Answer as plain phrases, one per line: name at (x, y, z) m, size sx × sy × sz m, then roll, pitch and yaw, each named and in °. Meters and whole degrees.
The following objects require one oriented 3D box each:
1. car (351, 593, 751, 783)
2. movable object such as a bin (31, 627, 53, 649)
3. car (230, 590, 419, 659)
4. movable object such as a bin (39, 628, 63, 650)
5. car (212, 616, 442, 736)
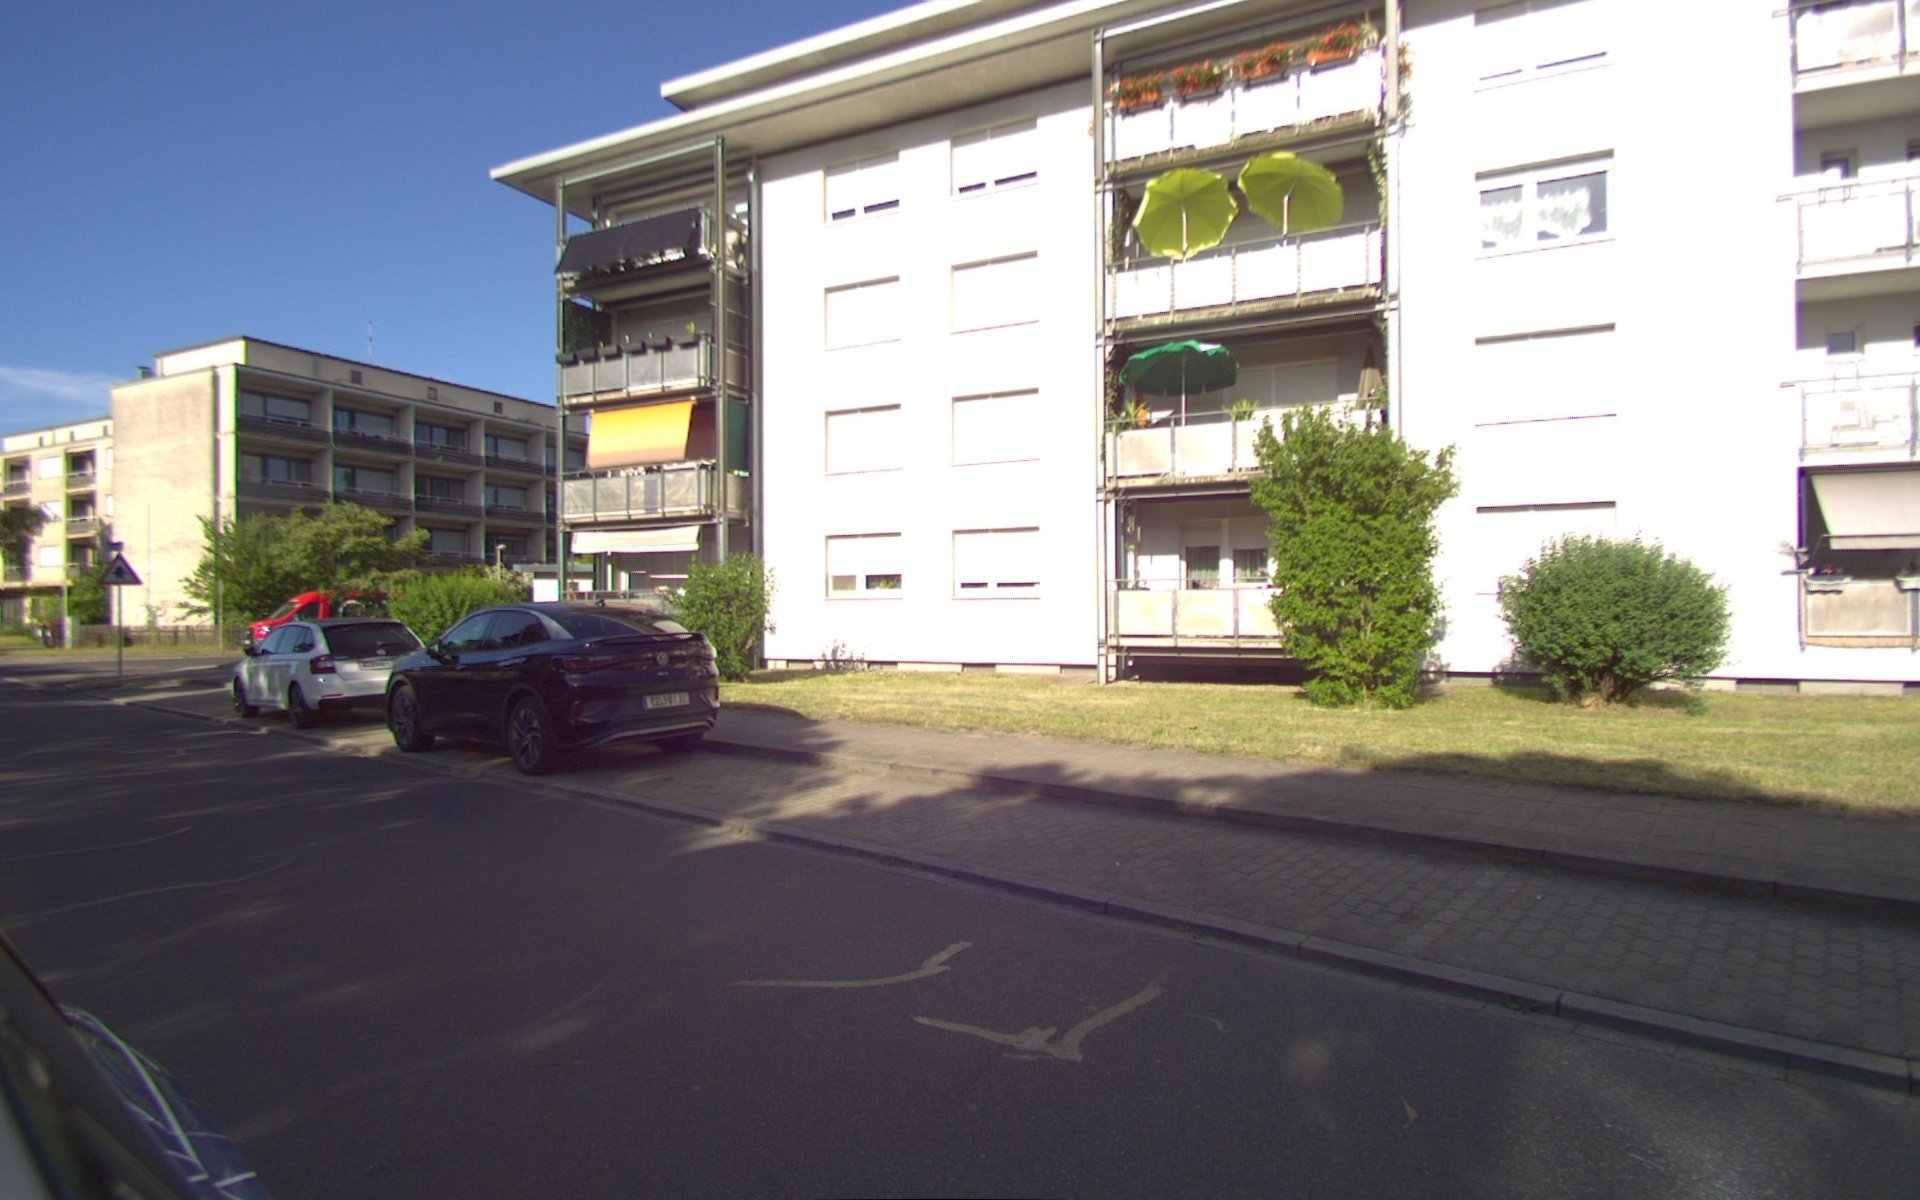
car at (-4.533, 0.781, 10.847) m, size 4.806 × 1.616 × 1.895 m, roll -1°, pitch -1°, yaw 39°
movable object such as a bin at (-44.991, 1.850, 49.597) m, size 0.552 × 1.061 × 0.562 m, roll -1°, pitch -1°, yaw 15°
car at (-24.599, 0.974, 39.440) m, size 2.209 × 2.447 × 5.850 m, roll -3°, pitch -3°, yaw 36°
movable object such as a bin at (-44.380, 1.897, 49.412) m, size 0.696 × 1.056 × 0.626 m, roll -1°, pitch -1°, yaw 14°
car at (-9.377, 1.015, 14.843) m, size 4.327 × 1.477 × 1.630 m, roll -1°, pitch 0°, yaw 40°
